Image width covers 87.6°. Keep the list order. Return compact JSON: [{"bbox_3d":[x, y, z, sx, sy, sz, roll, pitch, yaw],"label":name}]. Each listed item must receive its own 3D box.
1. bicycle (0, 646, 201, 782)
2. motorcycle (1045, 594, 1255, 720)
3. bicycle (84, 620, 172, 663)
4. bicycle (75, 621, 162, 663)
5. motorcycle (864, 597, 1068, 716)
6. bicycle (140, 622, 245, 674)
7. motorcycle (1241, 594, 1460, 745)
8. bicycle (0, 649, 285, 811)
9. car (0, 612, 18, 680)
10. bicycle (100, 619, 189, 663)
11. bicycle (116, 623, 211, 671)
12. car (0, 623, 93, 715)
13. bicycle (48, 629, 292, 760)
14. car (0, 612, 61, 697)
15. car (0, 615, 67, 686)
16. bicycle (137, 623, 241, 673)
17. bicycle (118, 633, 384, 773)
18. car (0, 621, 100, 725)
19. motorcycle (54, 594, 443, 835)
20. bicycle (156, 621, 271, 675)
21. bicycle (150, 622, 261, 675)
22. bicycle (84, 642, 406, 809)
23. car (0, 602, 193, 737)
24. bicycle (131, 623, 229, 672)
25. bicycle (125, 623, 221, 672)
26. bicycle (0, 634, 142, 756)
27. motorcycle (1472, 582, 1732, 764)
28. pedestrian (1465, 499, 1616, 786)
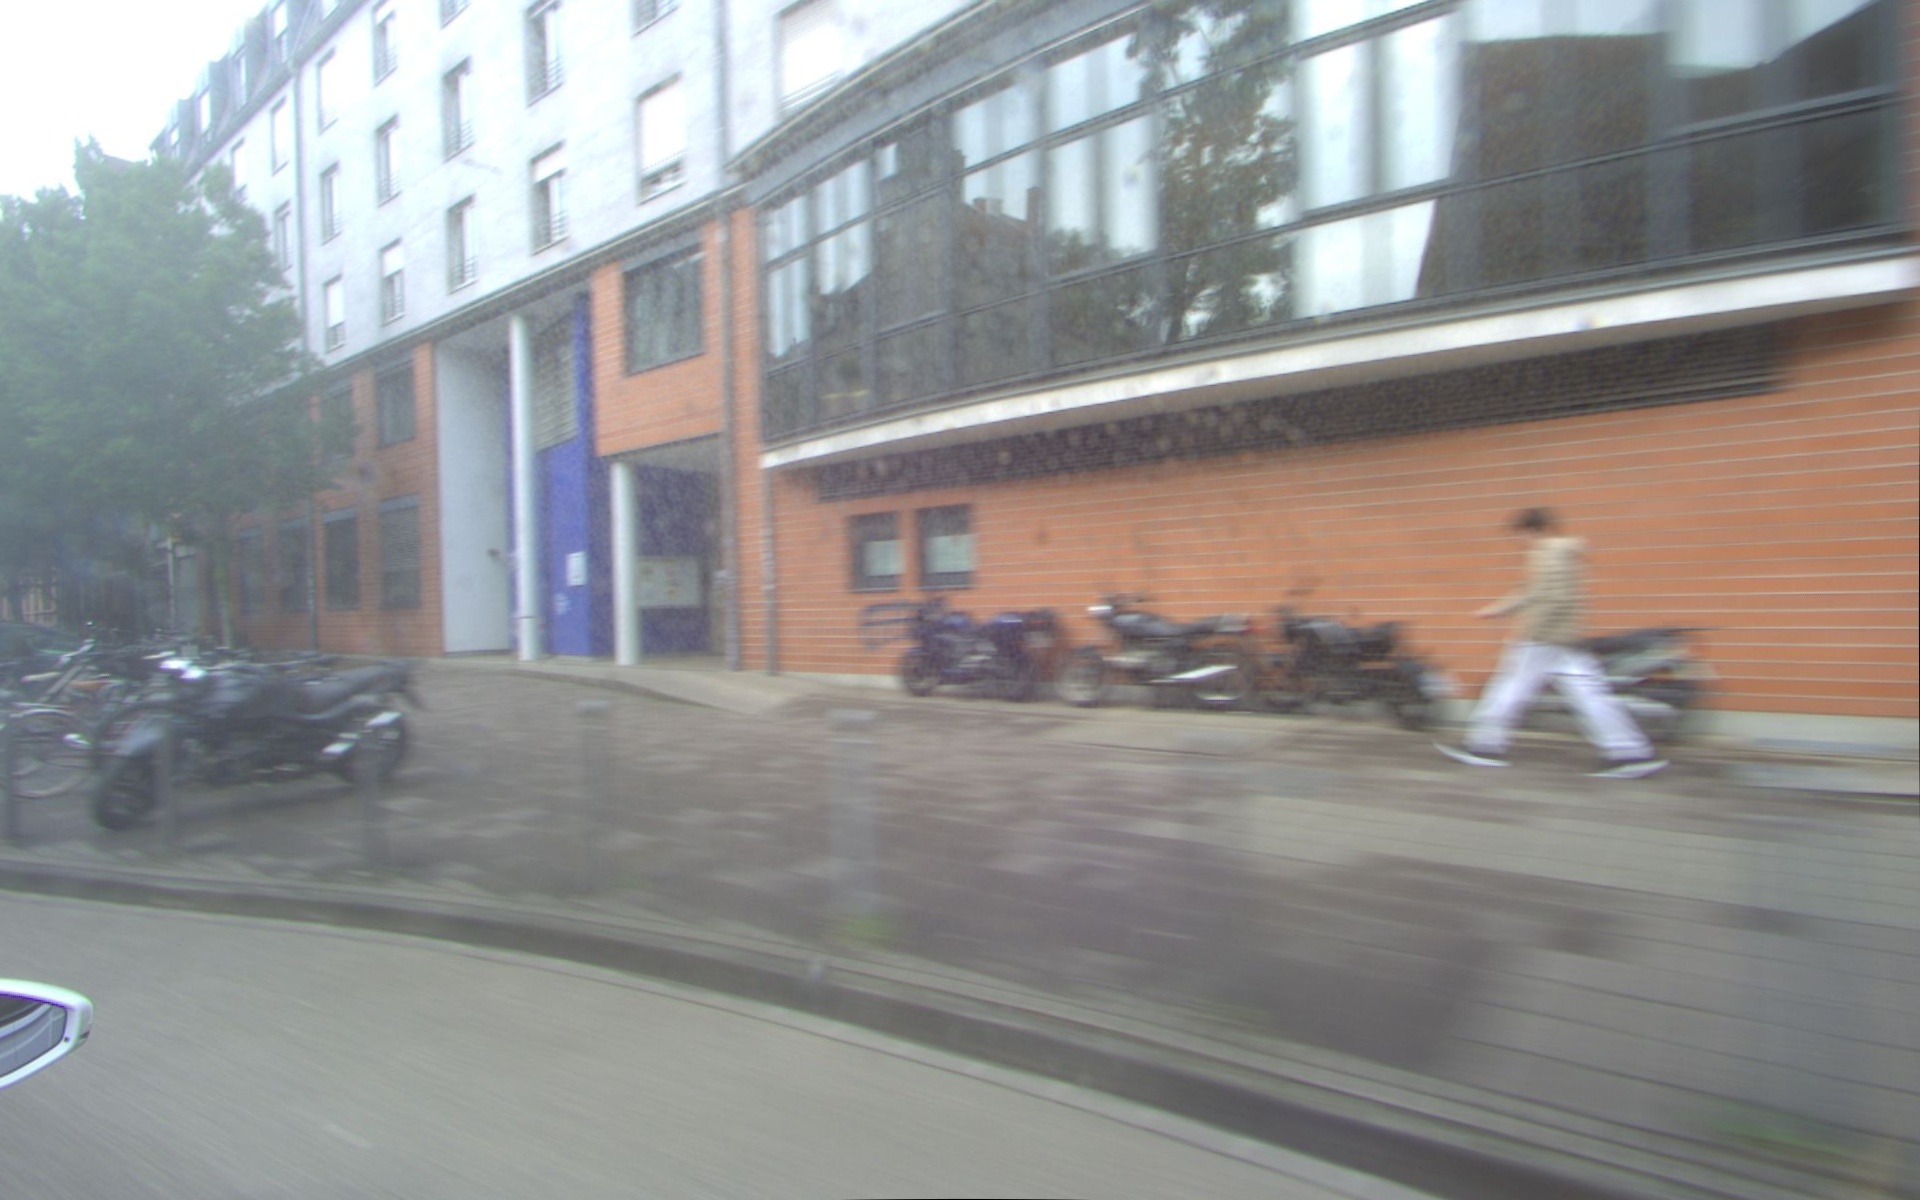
[{"bbox_3d":[-8.055,0.999,8.964,0.604,1.057,1.877,-2,0,36],"label":"bicycle"},{"bbox_3d":[1.890,0.546,10.163,2.046,1.159,0.598,-1,1,40],"label":"motorcycle"},{"bbox_3d":[-22.447,1.109,27.034,0.558,1.106,1.745,-2,-1,38],"label":"bicycle"},{"bbox_3d":[-23.120,1.140,27.533,0.558,1.106,1.745,-2,-1,38],"label":"bicycle"},{"bbox_3d":[0.042,0.597,11.511,2.182,1.219,1.023,-1,2,39],"label":"motorcycle"},{"bbox_3d":[-17.456,1.084,22.808,0.536,1.106,1.828,-2,-1,38],"label":"bicycle"},{"bbox_3d":[3.330,0.543,8.730,0.593,1.159,1.874,-2,1,-25],"label":"motorcycle"},{"bbox_3d":[-6.696,0.987,8.110,0.604,1.057,1.922,-2,0,36],"label":"bicycle"},{"bbox_3d":[-23.854,1.131,22.212,1.737,1.606,4.058,-2,0,9],"label":"car"},{"bbox_3d":[-21.668,1.078,26.630,0.558,1.106,1.745,-2,-1,38],"label":"bicycle"},{"bbox_3d":[-19.560,1.143,24.627,0.558,1.106,1.745,-2,-1,38],"label":"bicycle"},{"bbox_3d":[-17.275,1.164,16.713,1.839,1.563,3.987,0,-2,8],"label":"car"},{"bbox_3d":[-8.195,0.936,10.479,0.604,1.156,1.877,-2,0,36],"label":"bicycle"},{"bbox_3d":[-19.352,1.083,18.290,1.867,1.606,4.058,-2,0,8],"label":"car"},{"bbox_3d":[-21.654,1.137,21.215,1.649,1.506,4.059,-2,0,3],"label":"car"},{"bbox_3d":[-17.988,1.100,23.400,0.558,1.106,1.828,-2,-1,38],"label":"bicycle"},{"bbox_3d":[-6.615,0.907,9.450,0.604,1.091,1.922,-2,0,36],"label":"bicycle"},{"bbox_3d":[-15.074,1.085,14.633,1.809,1.518,3.566,0,0,4],"label":"car"},{"bbox_3d":[-5.046,0.719,7.279,0.761,1.448,2.126,-2,0,36],"label":"motorcycle"},{"bbox_3d":[-16.340,1.033,21.966,0.570,1.106,1.925,-2,-1,38],"label":"bicycle"},{"bbox_3d":[-16.804,1.065,22.343,0.536,1.106,1.887,-2,-1,38],"label":"bicycle"},{"bbox_3d":[-5.690,0.938,8.116,0.604,1.076,2.002,-2,0,36],"label":"bicycle"},{"bbox_3d":[-12.850,0.926,13.191,1.828,1.600,4.284,-2,2,6],"label":"car"},{"bbox_3d":[-18.488,1.109,23.770,0.558,1.106,1.745,-2,-1,38],"label":"bicycle"},{"bbox_3d":[-19.063,1.142,24.290,0.558,1.106,1.745,-2,-1,38],"label":"bicycle"},{"bbox_3d":[-9.666,0.974,10.248,0.604,1.156,1.877,-2,0,36],"label":"bicycle"},{"bbox_3d":[4.798,0.481,7.600,0.594,1.210,1.558,-2,3,-28],"label":"motorcycle"},{"bbox_3d":[3.865,0.254,6.661,0.801,1.778,0.627,0,4,36],"label":"pedestrian"}]
